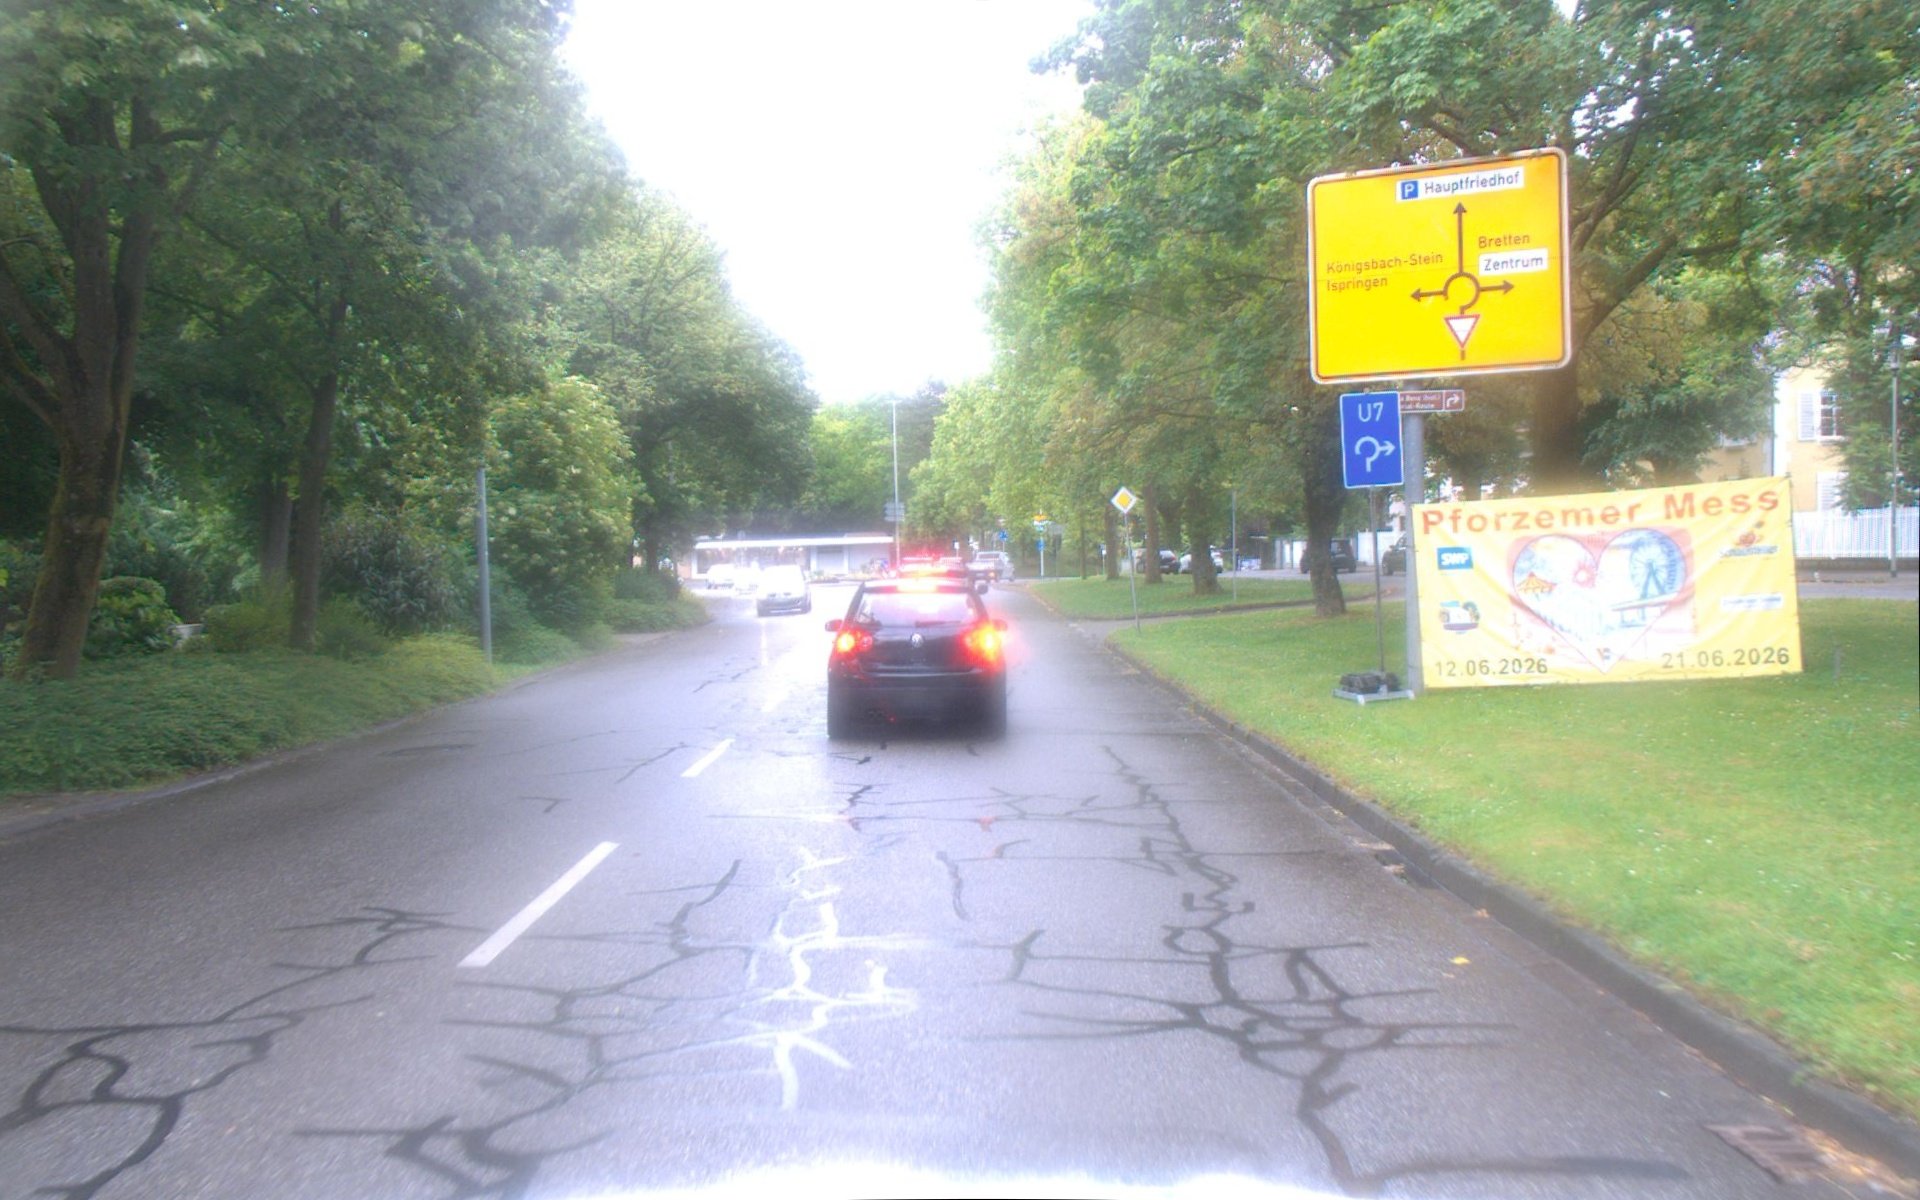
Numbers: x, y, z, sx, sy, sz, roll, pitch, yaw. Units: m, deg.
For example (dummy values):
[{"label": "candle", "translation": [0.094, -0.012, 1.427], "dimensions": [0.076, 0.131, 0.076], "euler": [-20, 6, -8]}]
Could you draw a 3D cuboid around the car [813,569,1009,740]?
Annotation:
[{"label": "car", "translation": [-0.448, 0.461, 16.739], "dimensions": [1.762, 1.542, 3.753], "euler": [0, 1, 0]}]

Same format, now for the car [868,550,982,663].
[{"label": "car", "translation": [-0.587, 0.068, 29.255], "dimensions": [1.817, 1.815, 4.000], "euler": [-2, 1, 0]}]

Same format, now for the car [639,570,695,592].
[{"label": "car", "translation": [-22.537, -1.490, 127.195], "dimensions": [3.890, 1.417, 1.801], "euler": [-3, 1, 29]}]

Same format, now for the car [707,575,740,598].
[{"label": "car", "translation": [-16.903, -0.977, 118.144], "dimensions": [1.744, 1.646, 3.786], "euler": [-1, 1, -17]}]

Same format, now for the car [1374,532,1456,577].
[{"label": "car", "translation": [17.402, -1.766, 63.388], "dimensions": [1.766, 1.556, 4.110], "euler": [-3, 2, -3]}]

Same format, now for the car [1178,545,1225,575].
[{"label": "car", "translation": [12.800, -2.141, 87.813], "dimensions": [1.767, 1.430, 4.000], "euler": [-4, 2, -1]}]

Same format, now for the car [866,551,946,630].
[{"label": "car", "translation": [-1.301, -0.255, 40.979], "dimensions": [1.817, 1.815, 4.000], "euler": [-2, 1, 0]}]

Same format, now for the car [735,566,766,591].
[{"label": "car", "translation": [-13.570, -1.422, 106.970], "dimensions": [1.580, 1.452, 3.995], "euler": [-3, 2, -13]}]

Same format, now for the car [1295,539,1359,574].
[{"label": "car", "translation": [16.629, -1.998, 75.126], "dimensions": [1.766, 1.436, 4.110], "euler": [-3, 2, -3]}]

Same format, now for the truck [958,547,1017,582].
[{"label": "truck", "translation": [1.773, -2.261, 104.423], "dimensions": [2.365, 2.039, 5.154], "euler": [-2, 1, 17]}]

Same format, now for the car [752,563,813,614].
[{"label": "car", "translation": [-6.186, -0.441, 57.911], "dimensions": [1.728, 1.642, 4.140], "euler": [-3, 1, -2]}]

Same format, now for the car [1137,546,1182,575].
[{"label": "car", "translation": [10.544, -2.097, 87.448], "dimensions": [1.767, 1.409, 4.000], "euler": [-4, 2, -1]}]

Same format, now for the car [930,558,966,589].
[{"label": "car", "translation": [-0.656, -1.428, 89.360], "dimensions": [1.673, 1.539, 3.671], "euler": [-2, 1, -4]}]
